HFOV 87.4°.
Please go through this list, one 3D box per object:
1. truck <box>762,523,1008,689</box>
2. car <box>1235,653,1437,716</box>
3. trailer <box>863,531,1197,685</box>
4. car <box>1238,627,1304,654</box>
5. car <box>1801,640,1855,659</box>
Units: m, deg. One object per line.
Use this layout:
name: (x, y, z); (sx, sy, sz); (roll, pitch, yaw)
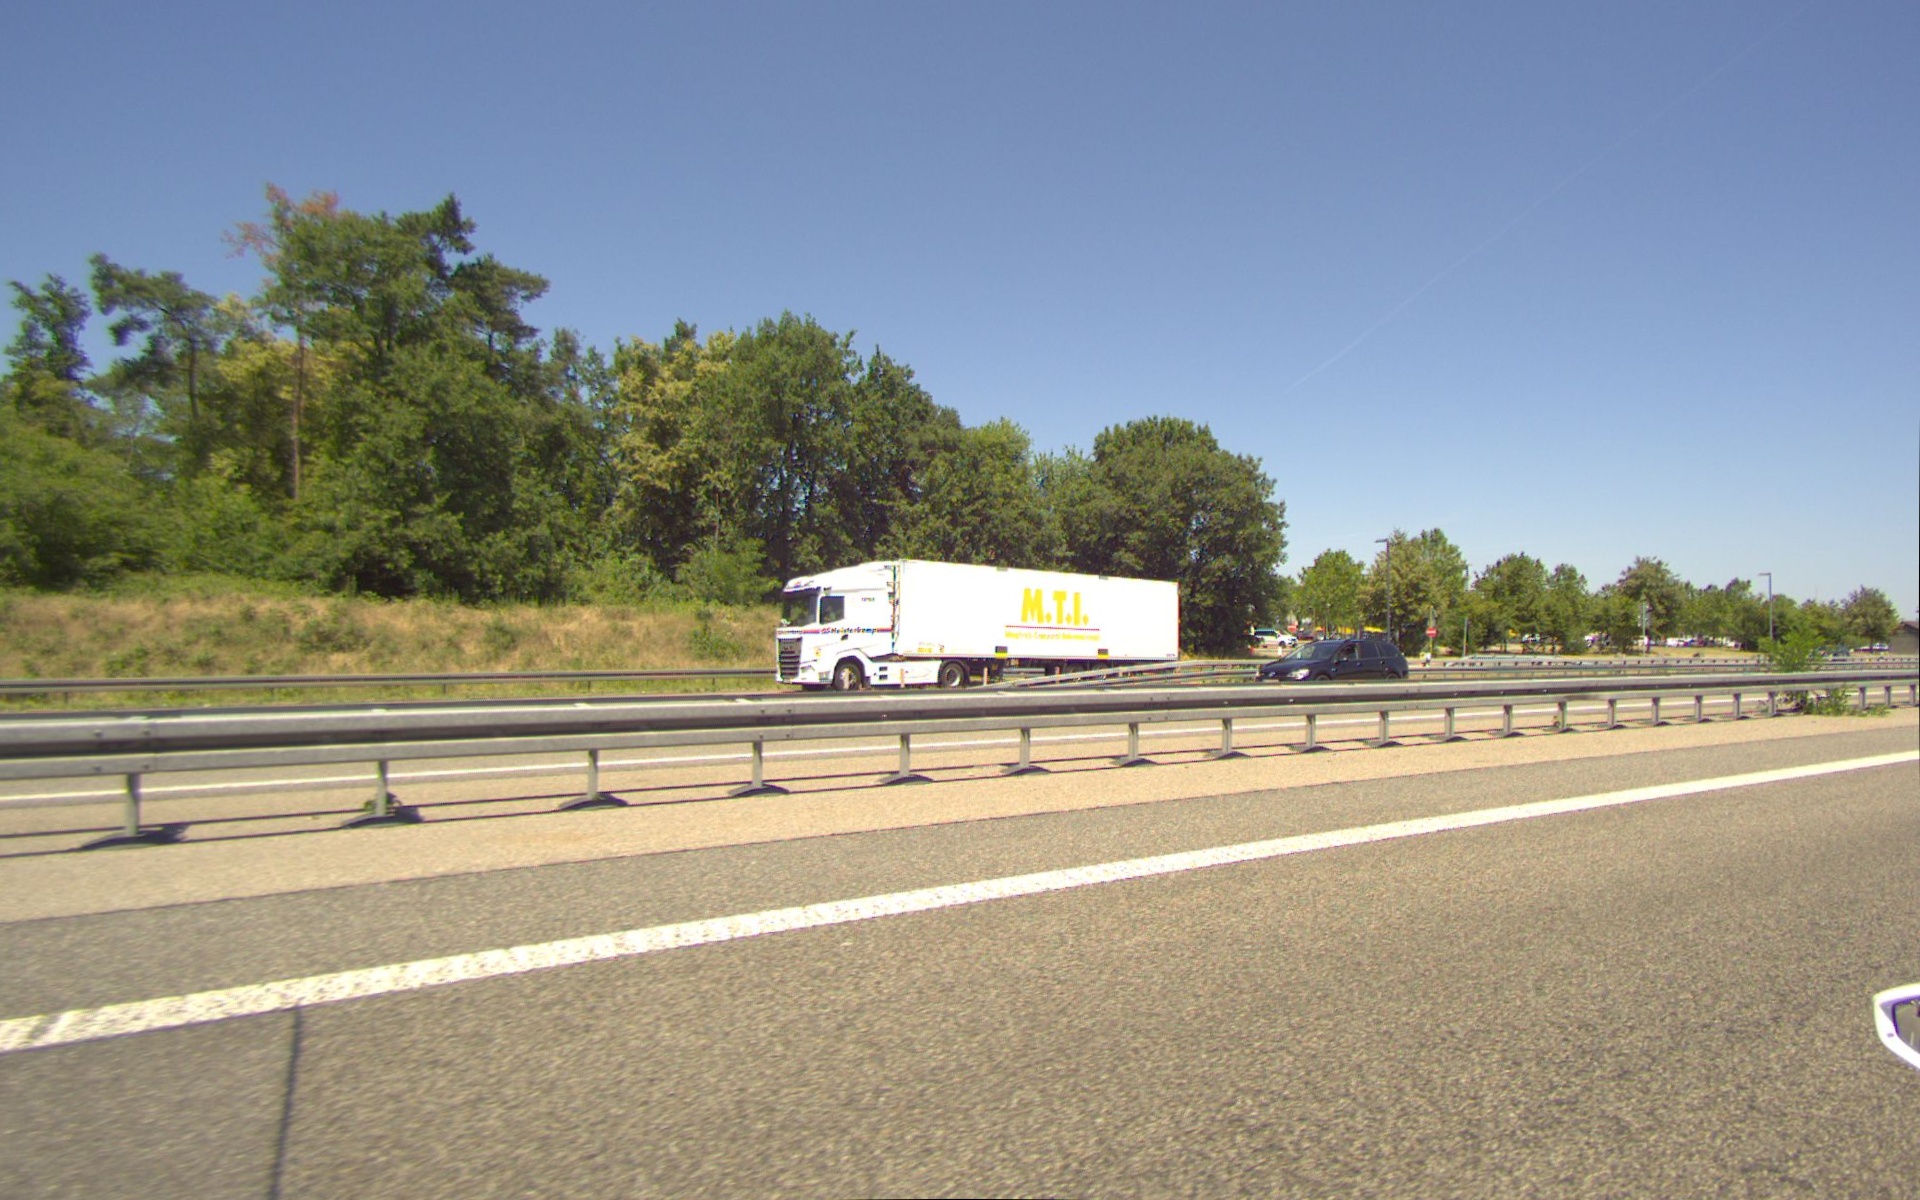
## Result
truck: (-2.354, 0.346, 33.082); (7.643, 4.890, 3.050); (1, -4, -37)
car: (9.425, 2.059, 25.118); (4.834, 1.398, 2.217); (1, -4, -31)
trailer: (3.059, 0.476, 37.204); (13.637, 4.890, 3.050); (1, -4, -37)
car: (31.807, 4.107, 102.791); (2.457, 2.533, 6.136); (1, 0, -39)
car: (74.048, 4.251, 85.639); (4.834, 1.571, 2.042); (1, -4, -31)
